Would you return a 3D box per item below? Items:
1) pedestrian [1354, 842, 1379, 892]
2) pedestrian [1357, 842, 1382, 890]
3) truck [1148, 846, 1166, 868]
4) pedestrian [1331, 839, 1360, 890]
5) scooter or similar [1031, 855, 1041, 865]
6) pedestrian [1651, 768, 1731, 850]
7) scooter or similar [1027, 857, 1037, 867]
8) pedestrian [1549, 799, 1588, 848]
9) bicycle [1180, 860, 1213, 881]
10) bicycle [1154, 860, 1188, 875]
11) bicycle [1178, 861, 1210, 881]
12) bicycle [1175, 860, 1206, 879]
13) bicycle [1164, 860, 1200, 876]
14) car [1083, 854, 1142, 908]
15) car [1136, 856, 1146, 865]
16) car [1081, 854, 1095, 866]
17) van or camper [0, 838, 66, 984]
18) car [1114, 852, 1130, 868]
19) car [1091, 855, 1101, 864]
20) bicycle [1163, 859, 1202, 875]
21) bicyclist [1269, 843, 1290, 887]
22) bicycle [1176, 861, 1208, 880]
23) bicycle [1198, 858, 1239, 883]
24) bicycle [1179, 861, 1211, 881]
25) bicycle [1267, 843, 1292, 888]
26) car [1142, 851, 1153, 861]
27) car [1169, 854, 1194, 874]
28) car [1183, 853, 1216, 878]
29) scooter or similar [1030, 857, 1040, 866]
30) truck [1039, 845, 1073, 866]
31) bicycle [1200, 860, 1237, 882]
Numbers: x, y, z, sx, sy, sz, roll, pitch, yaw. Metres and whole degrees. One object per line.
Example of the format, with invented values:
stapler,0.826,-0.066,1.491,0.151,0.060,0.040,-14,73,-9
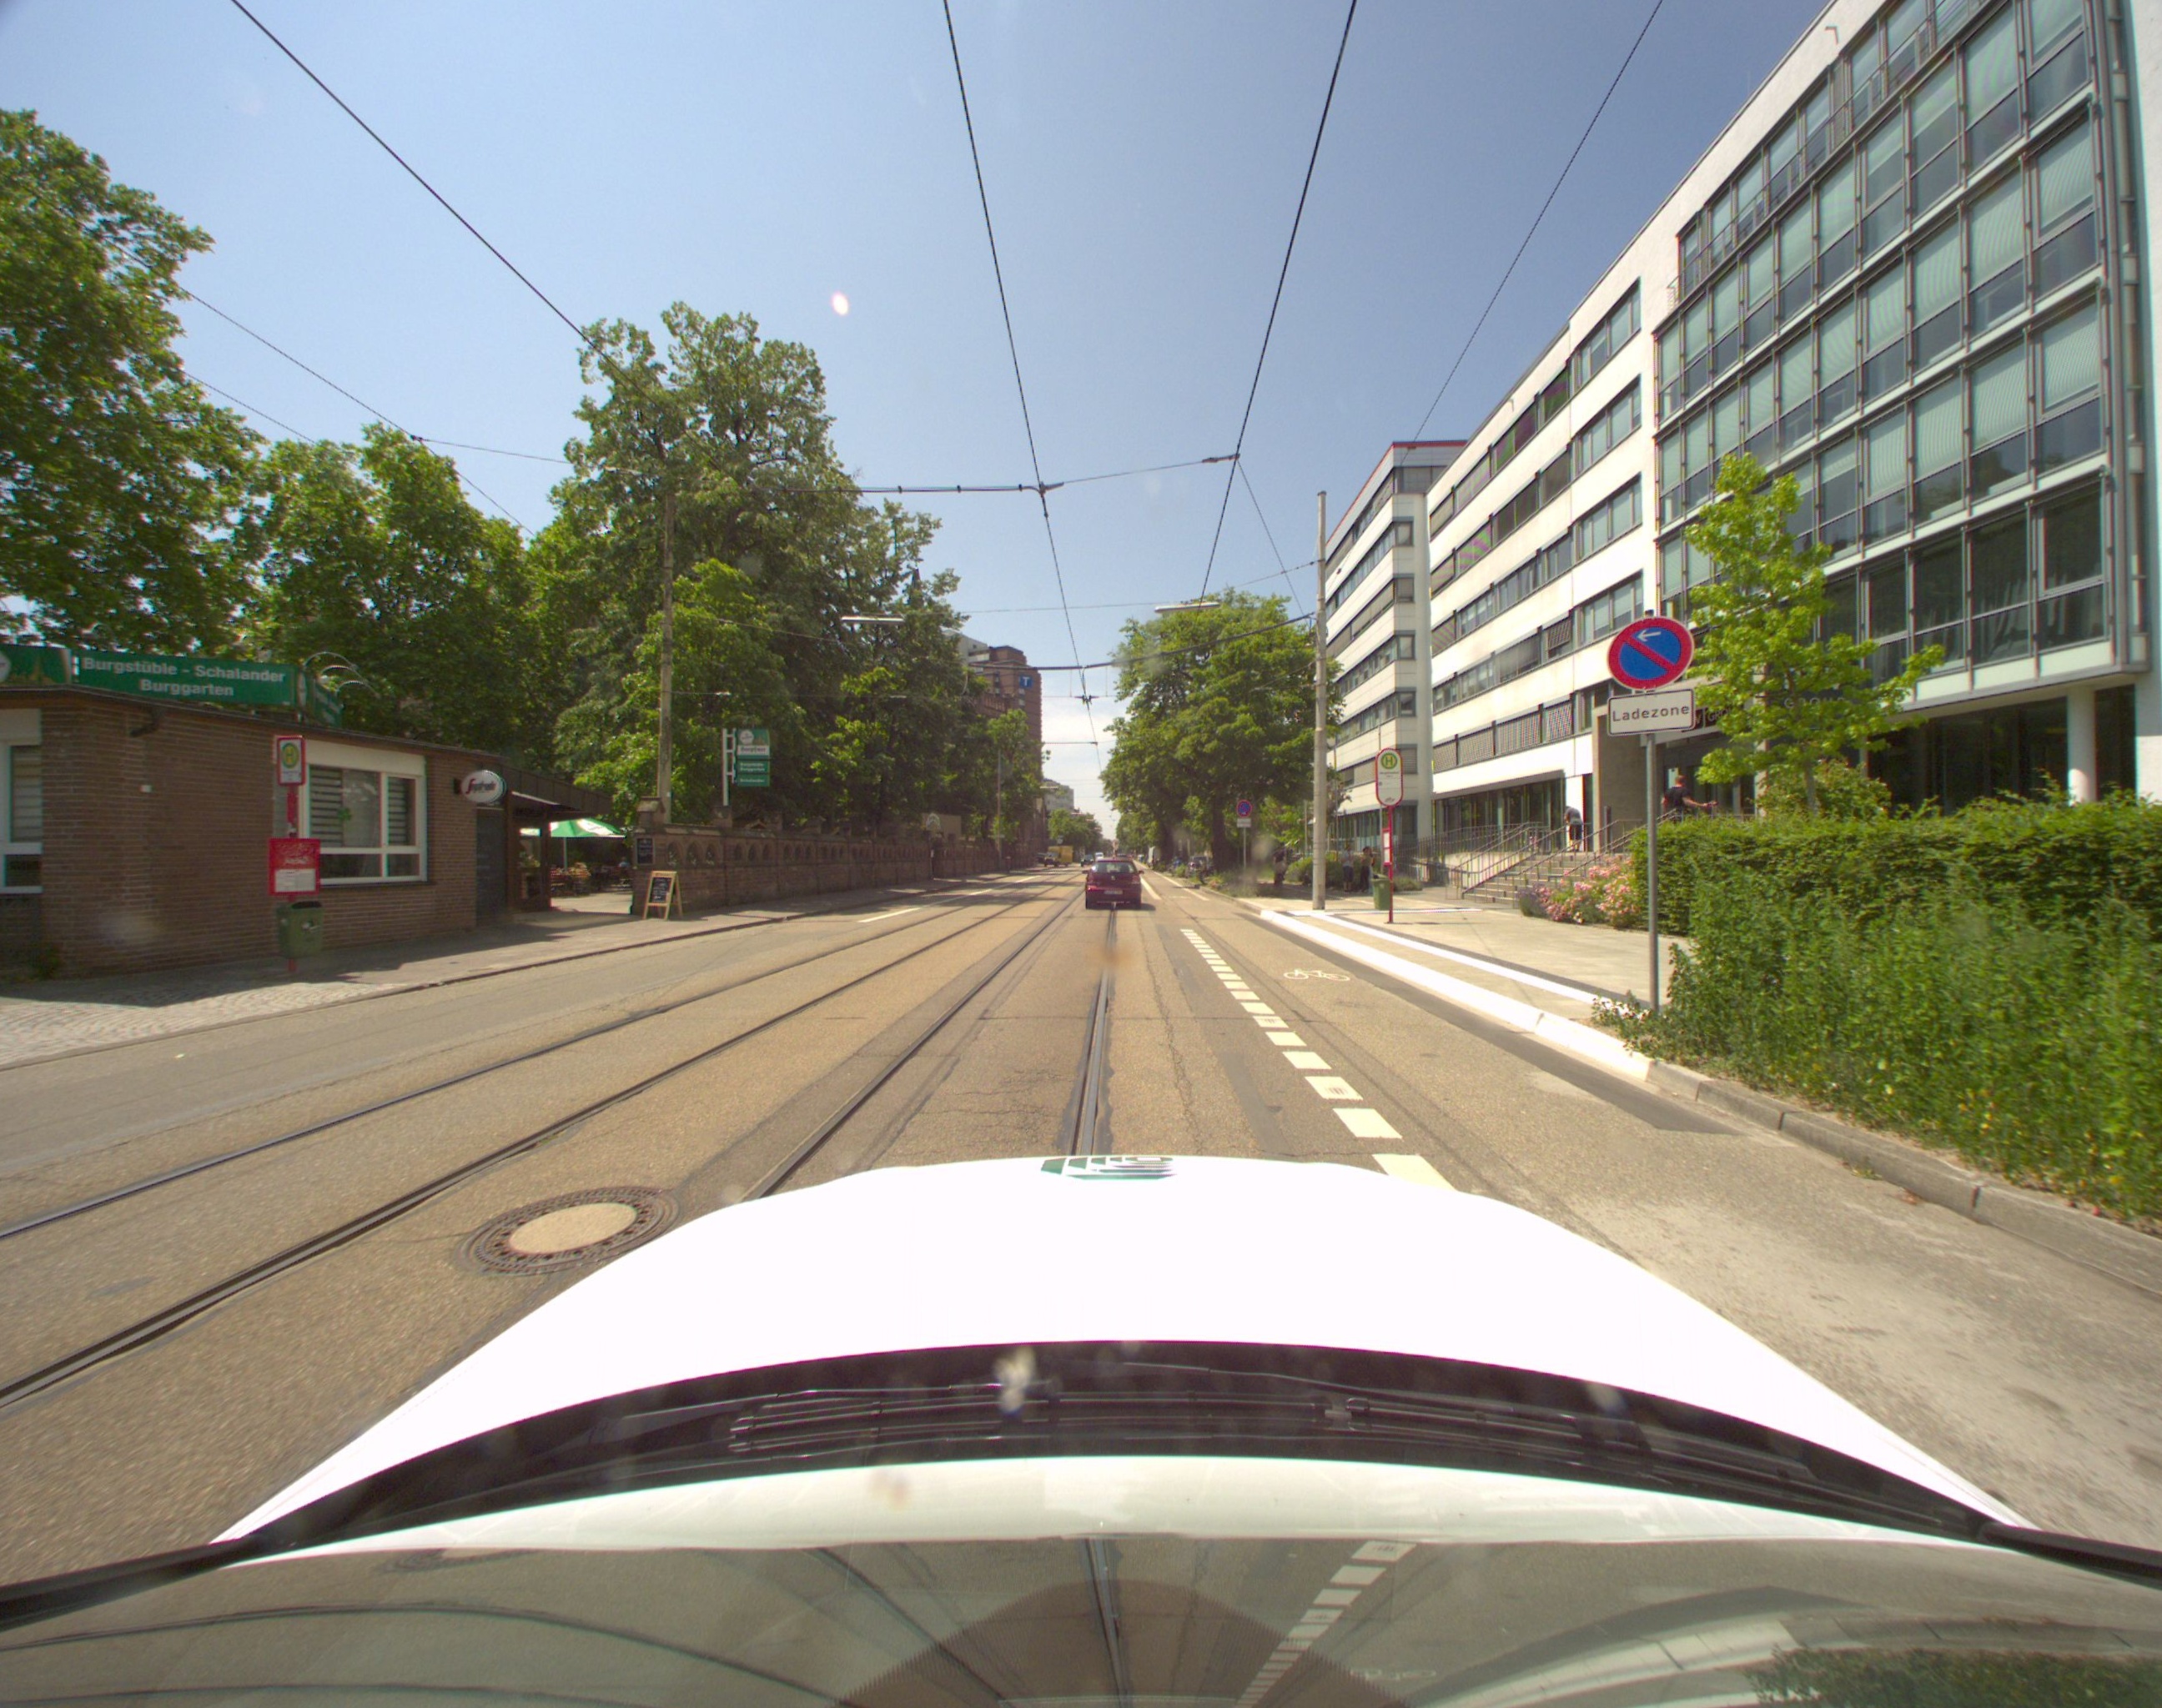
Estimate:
pedestrian,10.022,0.461,28.610,0.540,1.715,0.561,-1,-1,-27
pedestrian,10.320,0.427,29.153,0.540,1.715,0.561,-1,-1,-27
truck,9.496,0.313,101.539,1.985,2.662,4.878,1,0,3
pedestrian,9.580,0.369,29.491,0.681,1.796,0.668,-2,-1,-29
scooter or similar,-5.473,0.736,99.799,1.091,1.155,0.524,1,0,-19
pedestrian,13.380,-0.966,17.896,0.871,1.715,1.088,-2,-1,-2
scooter or similar,-5.799,0.930,95.772,1.091,1.155,0.524,1,0,-19
pedestrian,17.298,-1.076,28.911,0.874,1.716,0.808,1,0,1
bicycle,6.331,0.905,44.598,1.744,1.085,0.549,0,0,2
bicycle,8.170,1.200,74.143,3.059,1.313,0.782,1,0,0
bicycle,6.439,0.956,46.366,1.744,1.085,0.549,0,0,2
bicycle,6.403,0.909,47.627,1.744,1.085,0.549,0,0,2
bicycle,8.778,1.193,70.755,3.059,1.313,0.782,1,0,0
car,0.958,0.738,24.526,1.613,1.486,4.002,0,0,2
car,10.959,1.149,149.877,1.668,1.656,4.003,1,0,3
car,0.936,0.770,109.779,1.763,1.516,4.003,0,0,3
van or camper,-14.026,0.615,8.833,3.769,1.629,1.873,1,1,2
car,5.348,0.732,106.362,1.987,2.013,4.000,1,0,1
car,3.338,1.249,177.147,1.985,1.854,4.685,0,0,3
bicycle,9.012,1.168,72.215,3.356,1.313,0.782,1,0,0
bicyclist,8.257,0.470,33.908,0.693,1.799,0.889,-2,-1,6
bicycle,6.398,0.927,46.987,1.744,1.085,0.549,0,0,2
bicycle,6.679,0.802,39.641,1.876,1.182,0.695,-1,-1,2
bicycle,6.411,0.961,45.774,1.744,1.085,0.549,0,0,2
bicycle,8.244,0.471,33.860,0.686,1.785,1.813,-2,-1,6
car,10.822,0.280,133.100,1.668,1.656,4.003,1,0,3
car,7.863,0.782,63.973,1.682,1.468,3.882,0,0,3
car,7.483,0.728,51.814,1.682,1.503,3.630,-2,0,2
scooter or similar,-5.560,0.891,98.430,1.091,1.155,0.524,1,0,-19
truck,-3.466,0.206,115.126,2.350,2.787,7.353,0,0,18
bicycle,6.884,0.860,40.869,1.816,1.085,0.719,-1,-1,5
